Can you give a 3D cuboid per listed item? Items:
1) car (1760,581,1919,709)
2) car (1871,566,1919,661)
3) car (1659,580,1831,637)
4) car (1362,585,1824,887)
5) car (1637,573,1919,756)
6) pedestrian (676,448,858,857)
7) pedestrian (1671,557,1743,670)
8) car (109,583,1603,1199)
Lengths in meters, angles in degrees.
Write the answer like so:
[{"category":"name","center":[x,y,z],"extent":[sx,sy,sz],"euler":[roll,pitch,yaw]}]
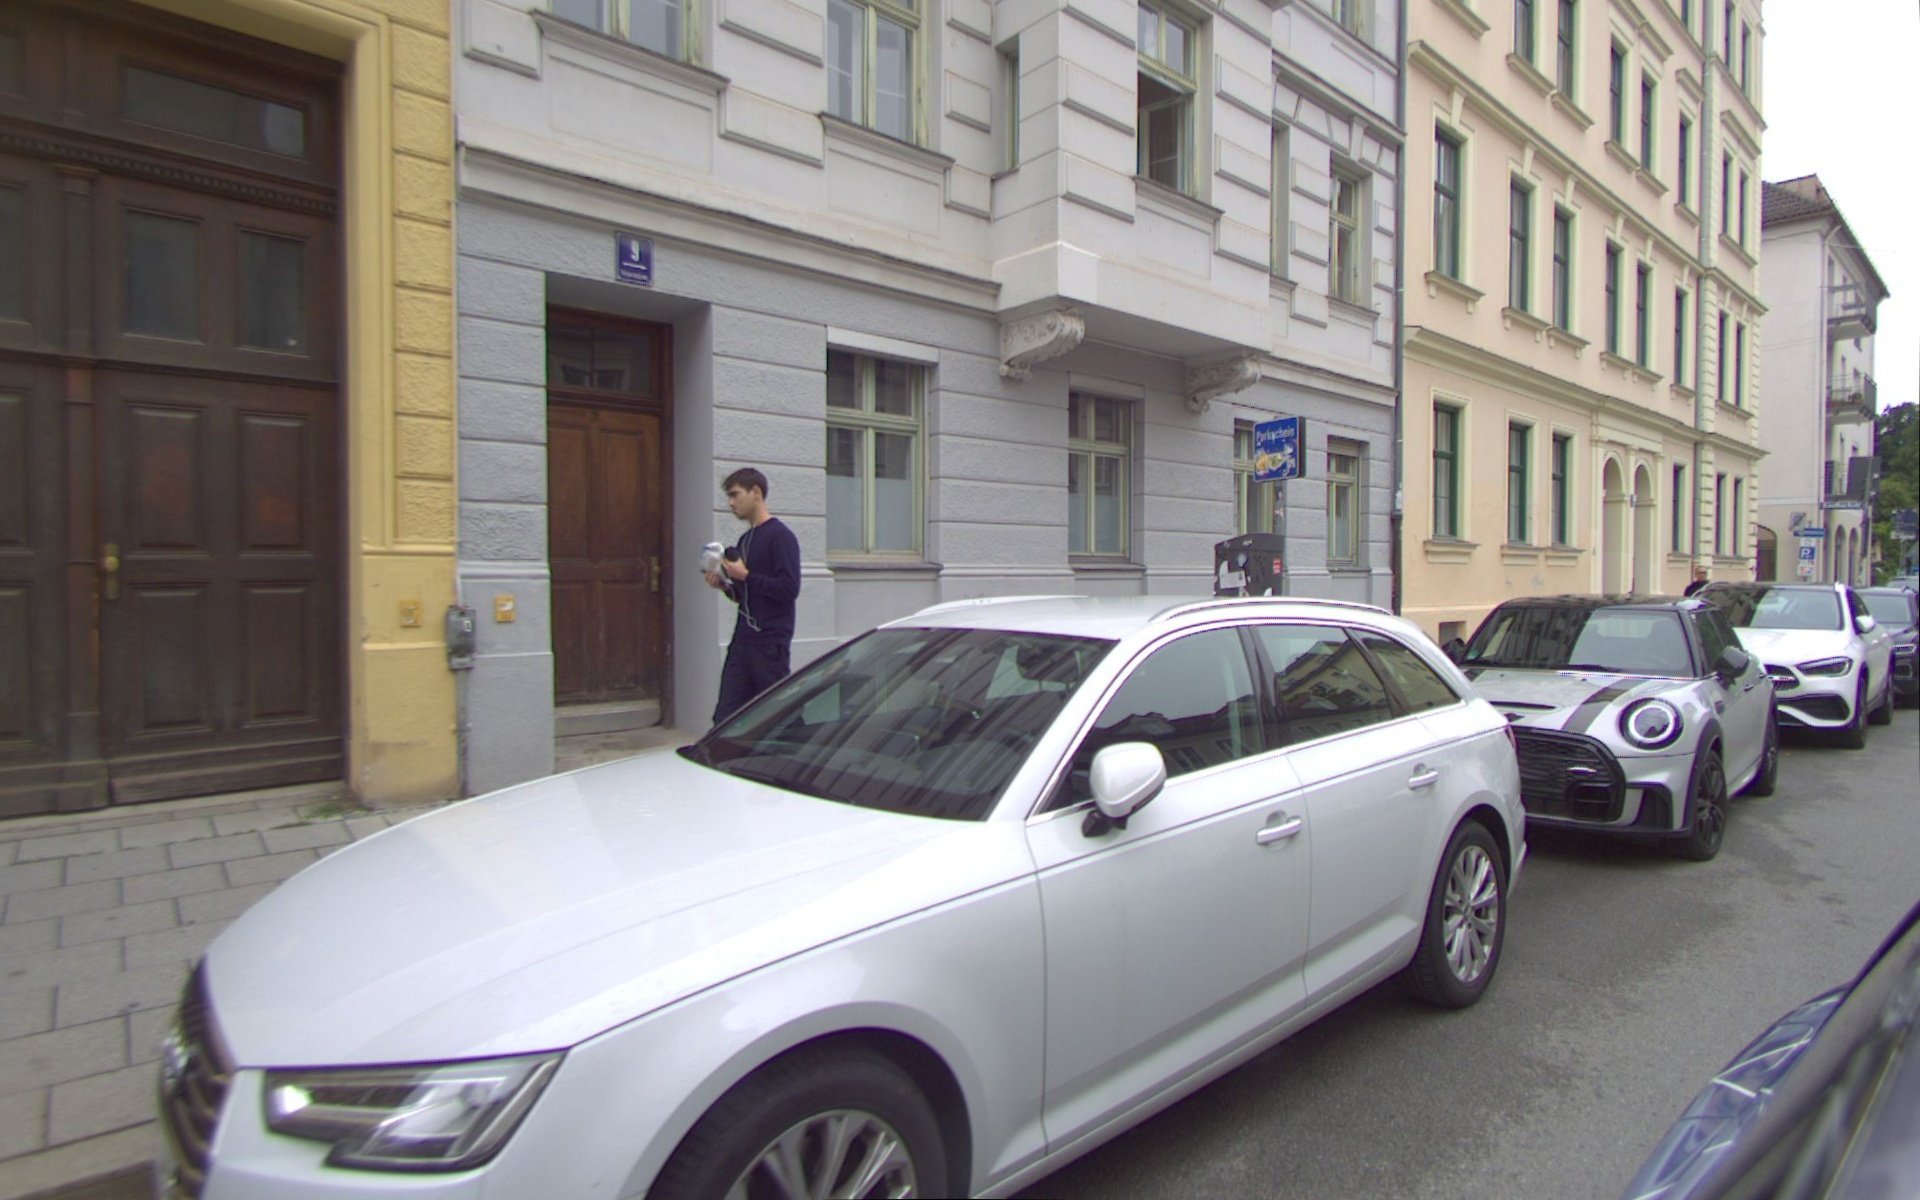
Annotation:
[{"category":"car","center":[12.806,0.510,14.171],"extent":[4.200,1.540,1.758],"euler":[-1,2,-41]},{"category":"car","center":[21.207,0.253,21.534],"extent":[5.159,1.888,2.002],"euler":[0,1,-40]},{"category":"car","center":[25.068,0.237,32.411],"extent":[1.725,1.625,4.095],"euler":[2,0,-42]},{"category":"car","center":[4.523,0.628,6.944],"extent":[4.137,1.422,1.710],"euler":[-1,2,-43]},{"category":"car","center":[9.044,0.514,10.965],"extent":[4.389,1.603,1.746],"euler":[-1,2,-41]},{"category":"pedestrian","center":[-1.039,0.229,5.403],"extent":[0.696,2.003,0.671],"euler":[-2,5,-40]},{"category":"pedestrian","center":[11.903,0.182,16.129],"extent":[0.987,1.738,0.720],"euler":[-2,3,-42]},{"category":"car","center":[0.324,0.672,3.296],"extent":[4.731,1.426,1.711],"euler":[-1,2,-41]}]
